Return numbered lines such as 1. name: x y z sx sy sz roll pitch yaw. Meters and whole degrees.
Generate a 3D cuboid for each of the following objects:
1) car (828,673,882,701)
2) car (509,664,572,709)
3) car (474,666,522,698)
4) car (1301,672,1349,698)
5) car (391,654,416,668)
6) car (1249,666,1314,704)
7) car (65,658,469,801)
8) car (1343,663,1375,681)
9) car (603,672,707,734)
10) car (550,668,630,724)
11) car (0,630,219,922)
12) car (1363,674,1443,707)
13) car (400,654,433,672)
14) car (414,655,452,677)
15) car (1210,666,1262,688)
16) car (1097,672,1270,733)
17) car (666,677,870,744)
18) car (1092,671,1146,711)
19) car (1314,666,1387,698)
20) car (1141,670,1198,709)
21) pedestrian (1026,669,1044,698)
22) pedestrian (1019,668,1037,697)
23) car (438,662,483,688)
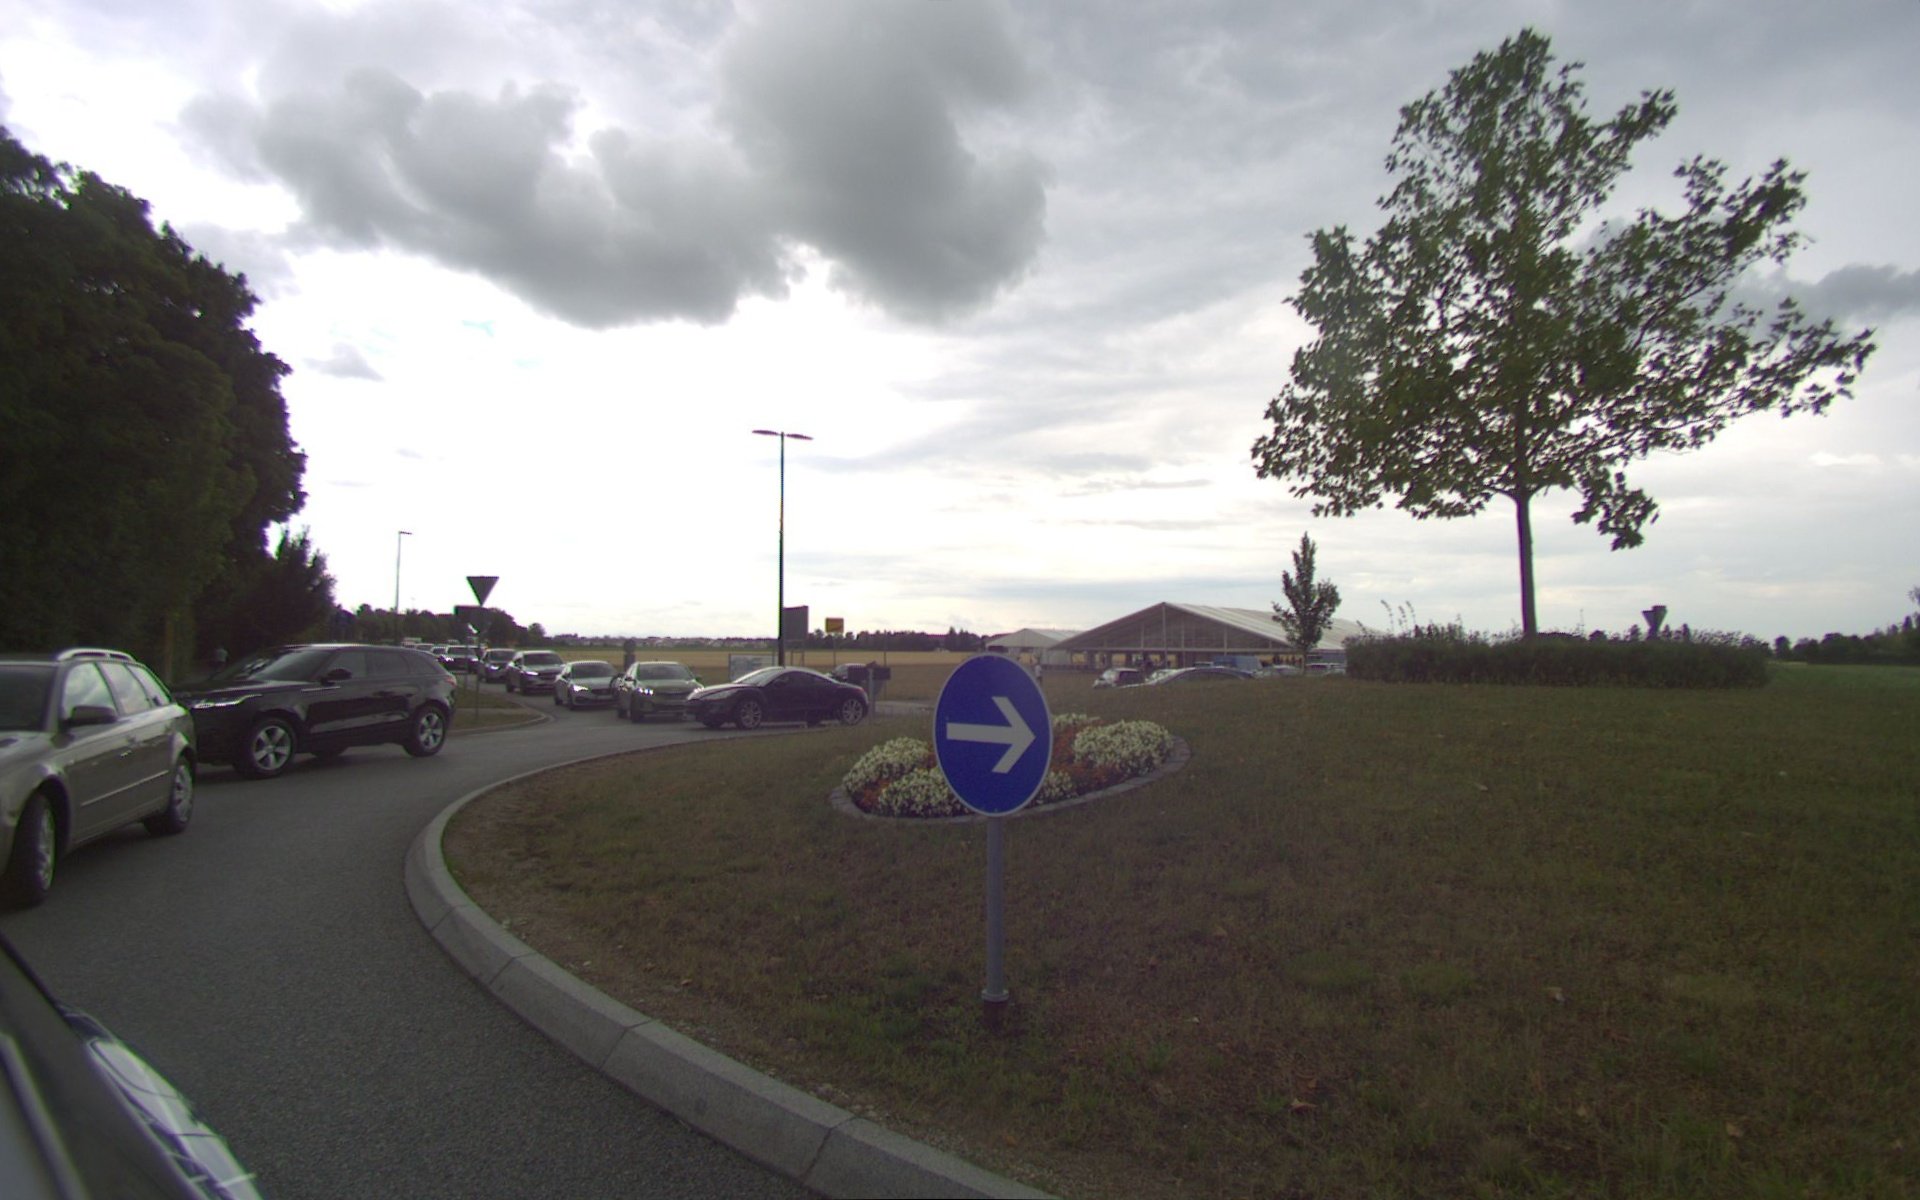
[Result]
1. car: -5.662 4.618 54.140 1.751 1.328 3.823 2 -3 -24
2. car: -16.186 3.280 38.929 1.751 1.510 3.822 1 -3 -29
3. car: -22.094 3.890 48.325 1.751 1.328 3.822 1 -3 -29
4. car: 23.276 5.376 64.405 1.947 1.453 3.953 0 -2 34
5. car: -55.011 6.028 100.029 1.752 1.328 3.820 2 -3 -35
6. car: 15.895 4.170 50.200 1.690 1.565 4.003 -1 -1 -4
7. car: -9.031 1.613 13.812 1.977 1.586 4.575 -1 -3 8
8. car: 36.911 6.615 93.582 1.831 1.619 3.783 -2 -4 35
9. car: -8.030 2.644 26.401 1.809 1.469 4.148 2 -6 -28
10. car: -11.686 2.956 31.812 1.751 1.510 3.822 1 -3 -29
11. car: -6.189 1.001 6.042 1.752 1.476 4.555 1 -6 -22
12. car: 23.823 4.839 54.574 1.704 1.619 3.889 2 -3 -22
13. car: -41.343 4.774 77.014 1.752 1.328 3.820 2 -3 -35
14. car: -35.756 4.460 68.637 1.752 1.328 3.820 2 -3 -35
15. car: 19.237 5.321 70.566 1.951 1.453 3.944 -2 -4 42
16. car: 5.701 2.616 26.137 4.024 1.441 1.763 1 -3 -1
17. car: -4.191 2.376 22.421 4.048 1.317 1.834 3 -5 -38
18. car: 7.579 4.333 48.589 1.690 1.565 4.003 -1 -1 -4
19. car: 19.515 4.080 50.745 1.923 1.453 4.003 1 -3 -3
20. car: 10.099 4.283 49.051 1.690 1.565 4.003 -1 -1 -4
21. pedestrian: 5.154 5.689 69.294 0.938 1.915 0.852 1 -3 -25
22. pedestrian: 4.716 5.718 70.167 0.938 1.915 0.852 1 -3 -25
23. car: -29.066 4.342 58.806 1.752 1.328 3.820 2 -3 -35
